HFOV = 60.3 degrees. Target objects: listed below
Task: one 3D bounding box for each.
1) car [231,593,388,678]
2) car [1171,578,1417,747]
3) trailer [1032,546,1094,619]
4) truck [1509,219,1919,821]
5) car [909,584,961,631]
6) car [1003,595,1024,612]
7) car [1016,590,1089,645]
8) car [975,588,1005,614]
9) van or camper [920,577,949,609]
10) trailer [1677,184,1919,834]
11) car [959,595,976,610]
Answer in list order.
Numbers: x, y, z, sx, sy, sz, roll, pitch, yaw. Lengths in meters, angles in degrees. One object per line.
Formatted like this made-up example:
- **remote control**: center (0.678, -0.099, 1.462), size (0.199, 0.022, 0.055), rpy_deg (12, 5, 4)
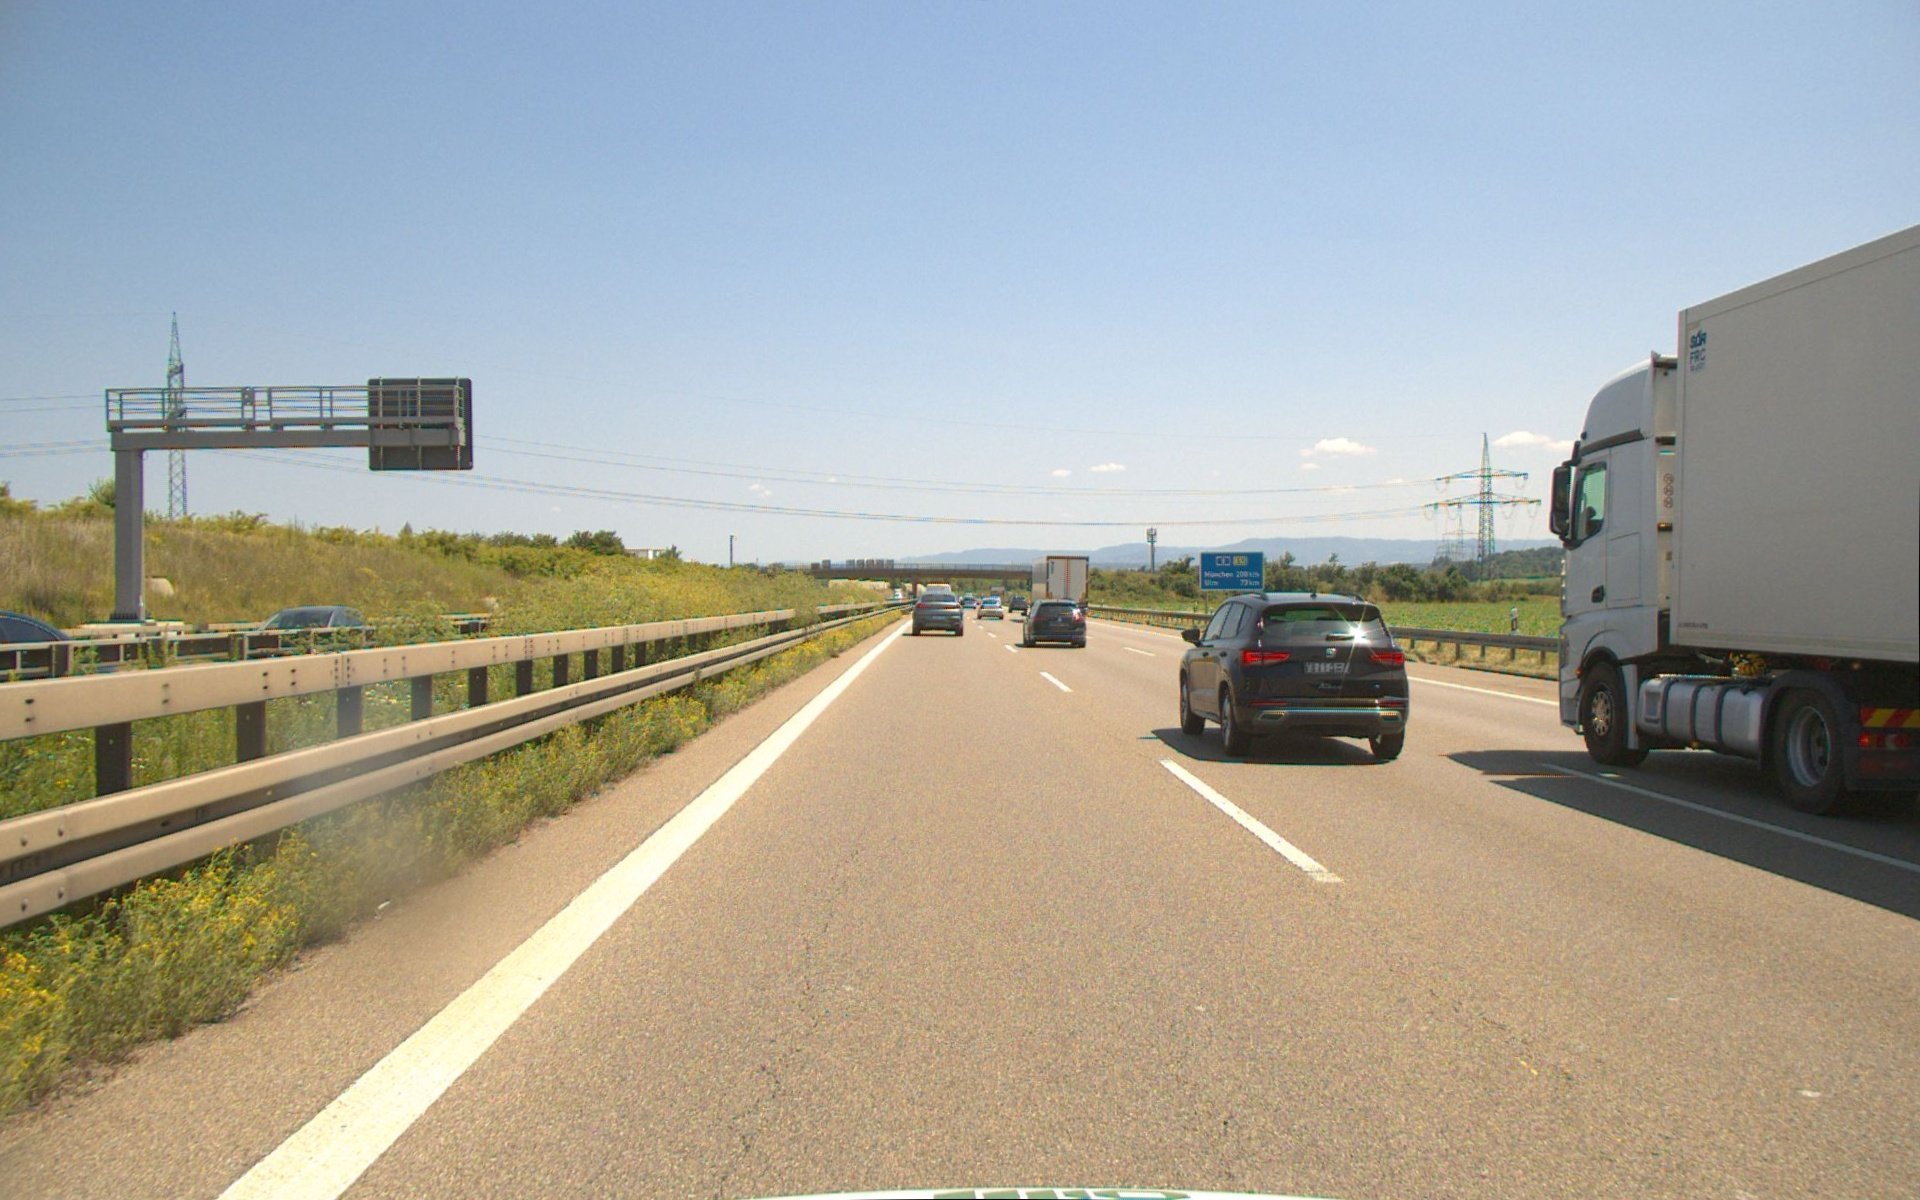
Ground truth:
- **car**: center (-13.149, 0.683, 33.670), size (1.639, 1.536, 3.883), rpy_deg (-3, 0, -1)
- **car**: center (3.458, 0.603, 17.812), size (1.760, 1.589, 3.822), rpy_deg (1, 0, -2)
- **trailer**: center (6.434, -1.028, 105.601), size (2.883, 4.271, 13.594), rpy_deg (1, 0, -1)
- **truck**: center (7.631, -0.527, 14.957), size (2.805, 4.163, 6.877), rpy_deg (1, 0, -2)
- **car**: center (-0.994, 0.285, 63.682), size (1.814, 1.693, 3.732), rpy_deg (1, 0, -4)
- **car**: center (5.365, 0.345, 167.124), size (1.953, 1.712, 3.999), rpy_deg (1, 0, -1)
- **car**: center (2.840, 0.526, 51.954), size (1.894, 1.602, 4.933), rpy_deg (1, 0, -1)
- **car**: center (2.076, 0.058, 114.330), size (1.953, 1.712, 3.999), rpy_deg (1, 0, -1)
- **van or camper**: center (-1.856, -0.499, 120.752), size (2.068, 2.250, 5.264), rpy_deg (1, 0, -1)
- **trailer**: center (7.802, -0.583, 7.749), size (2.810, 4.294, 13.291), rpy_deg (1, 0, -1)
- **car**: center (0.878, 0.319, 201.303), size (1.953, 1.712, 3.999), rpy_deg (1, 0, -1)
